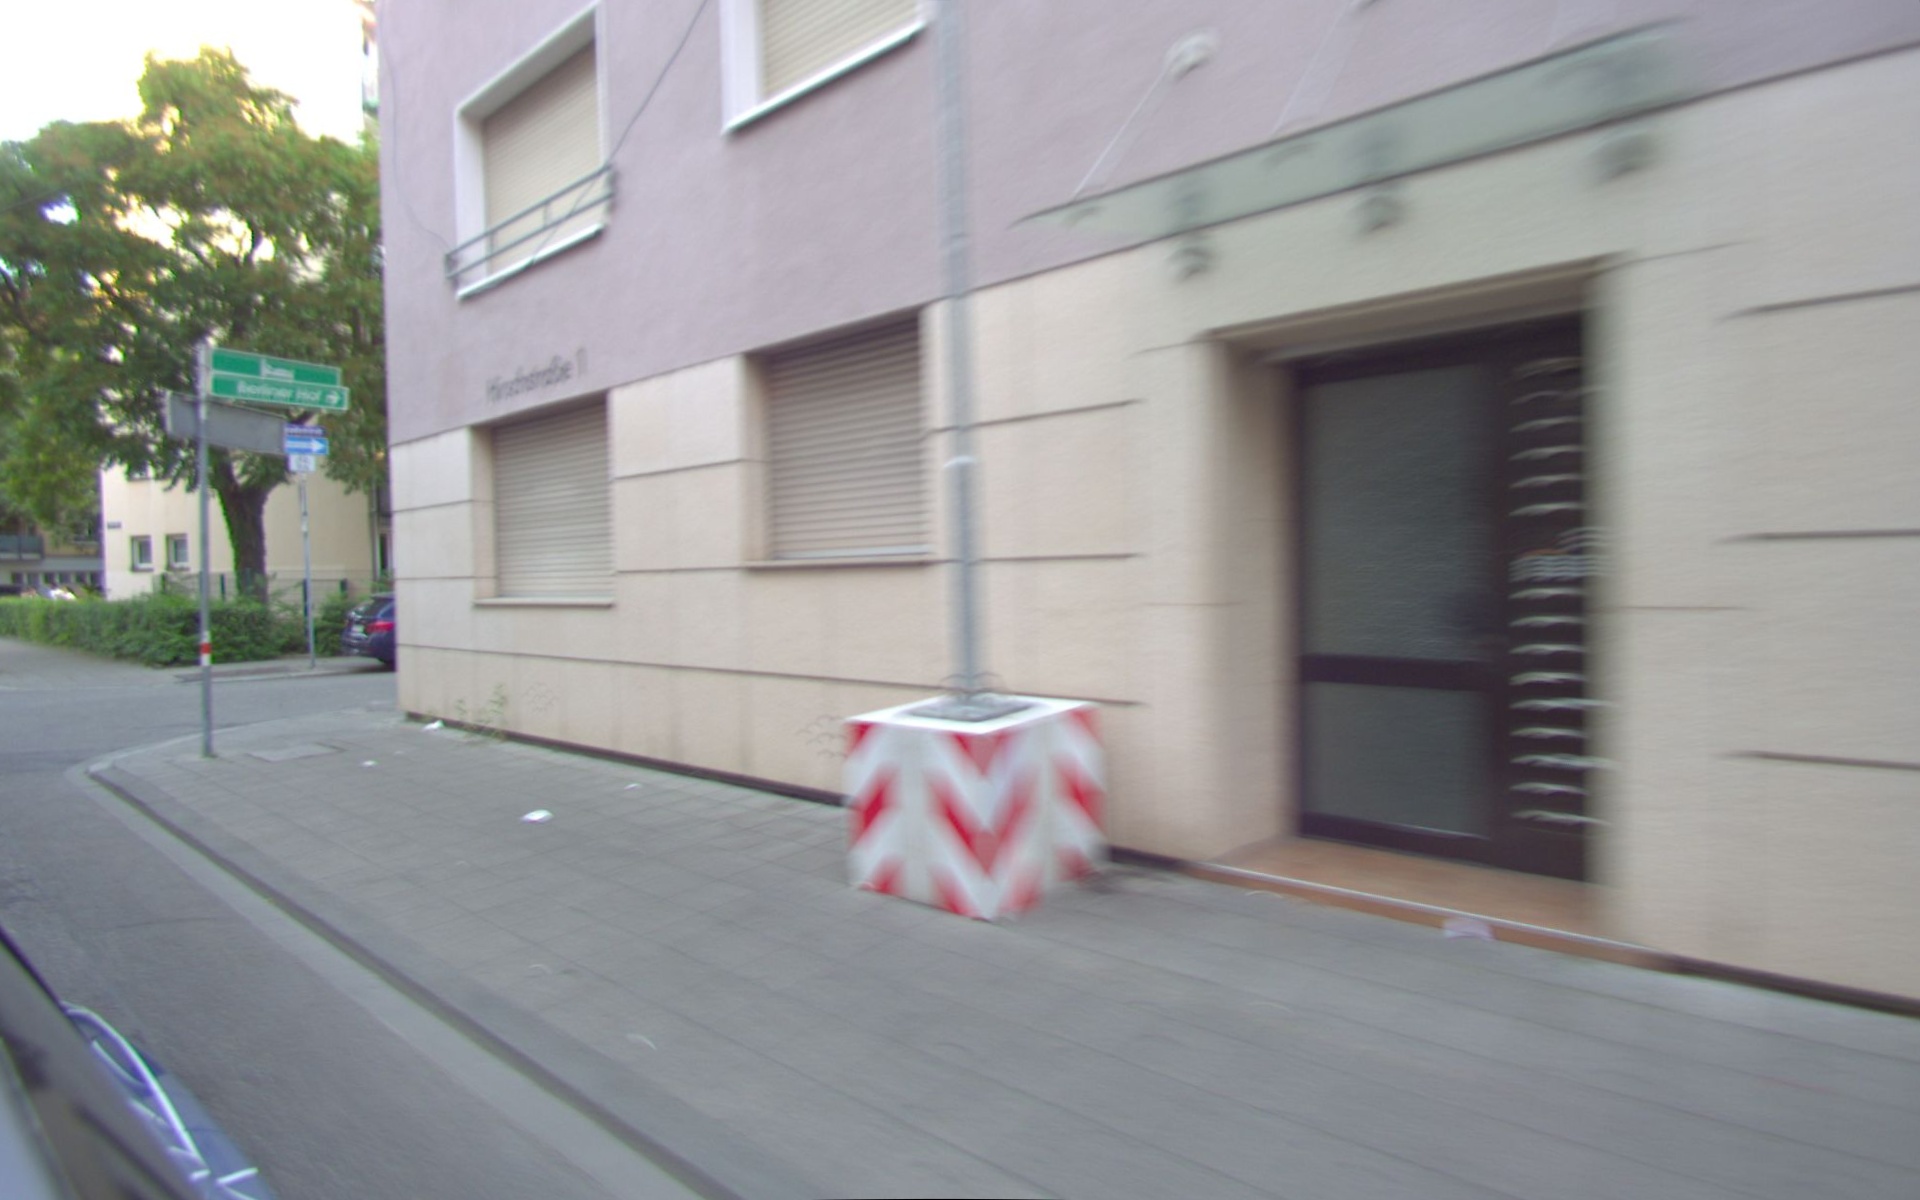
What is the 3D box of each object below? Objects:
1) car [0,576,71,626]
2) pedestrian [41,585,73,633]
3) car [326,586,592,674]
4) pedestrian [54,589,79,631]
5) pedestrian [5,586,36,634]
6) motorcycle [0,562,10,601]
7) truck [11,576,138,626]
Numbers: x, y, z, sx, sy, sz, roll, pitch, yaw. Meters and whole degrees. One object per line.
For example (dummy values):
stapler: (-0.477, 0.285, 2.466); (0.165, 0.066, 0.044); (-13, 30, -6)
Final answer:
car: (-45.905, -0.010, 49.222); (4.599, 2.149, 2.024); (3, 2, 19)
pedestrian: (-34.711, 0.350, 38.916); (0.694, 1.801, 0.660); (-1, 1, 23)
car: (-9.511, 0.490, 19.527); (1.684, 1.469, 4.302); (0, 1, 39)
pedestrian: (-33.954, 0.385, 38.461); (0.657, 1.583, 0.445); (-1, 1, 23)
pedestrian: (-35.725, 0.376, 38.491); (0.686, 1.801, 0.531); (-1, 1, -22)
motorcycle: (-38.457, -0.717, 39.802); (2.208, 1.505, 0.686); (-1, 1, 21)
truck: (-45.304, 0.012, 51.787); (5.977, 2.149, 2.247); (3, 2, 19)
